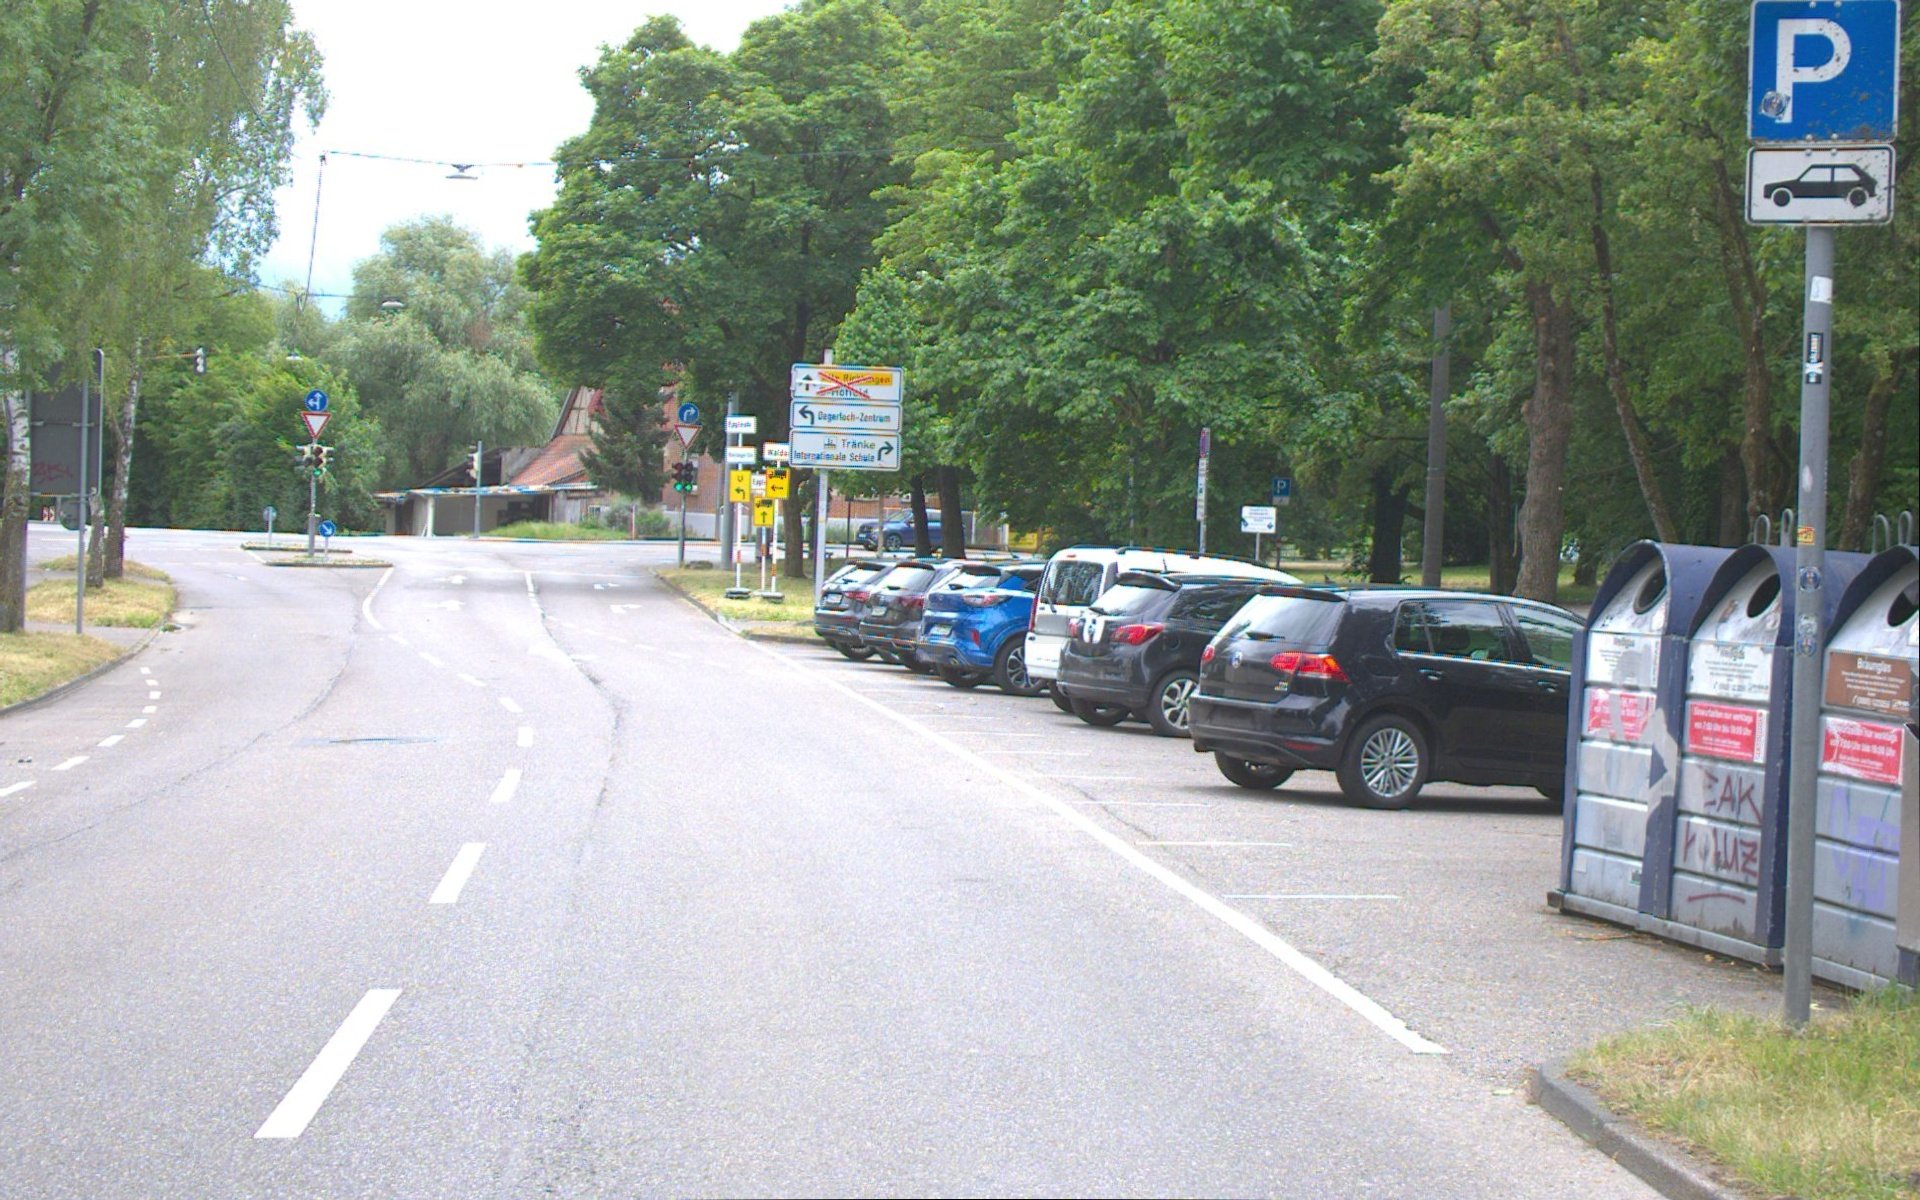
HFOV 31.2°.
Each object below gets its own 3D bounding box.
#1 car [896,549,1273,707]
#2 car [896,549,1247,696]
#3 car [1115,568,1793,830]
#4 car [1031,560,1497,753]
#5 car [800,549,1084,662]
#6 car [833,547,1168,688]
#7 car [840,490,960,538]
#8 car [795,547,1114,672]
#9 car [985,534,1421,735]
[{"bbox_3d":[1.415,0.321,39.080,3.818,1.523,1.747,4,0,-26],"label":"car"},{"bbox_3d":[1.362,0.277,41.997,3.818,1.523,1.747,4,0,-26],"label":"car"},{"bbox_3d":[3.348,0.669,23.350,3.986,1.409,2.058,4,2,-26],"label":"car"},{"bbox_3d":[2.799,0.522,31.627,3.818,1.463,1.747,4,1,-26],"label":"car"},{"bbox_3d":[-0.270,0.084,51.816,3.818,1.420,1.747,4,0,-26],"label":"car"},{"bbox_3d":[0.519,0.227,43.910,3.818,1.523,1.747,4,0,-26],"label":"car"},{"bbox_3d":[-2.173,-3.109,124.623,3.844,1.641,2.000,1,2,-28],"label":"car"},{"bbox_3d":[-0.076,0.127,47.018,3.872,1.421,1.830,4,0,-26],"label":"car"},{"bbox_3d":[2.429,0.346,34.363,3.818,1.714,1.879,4,0,-26],"label":"car"}]
